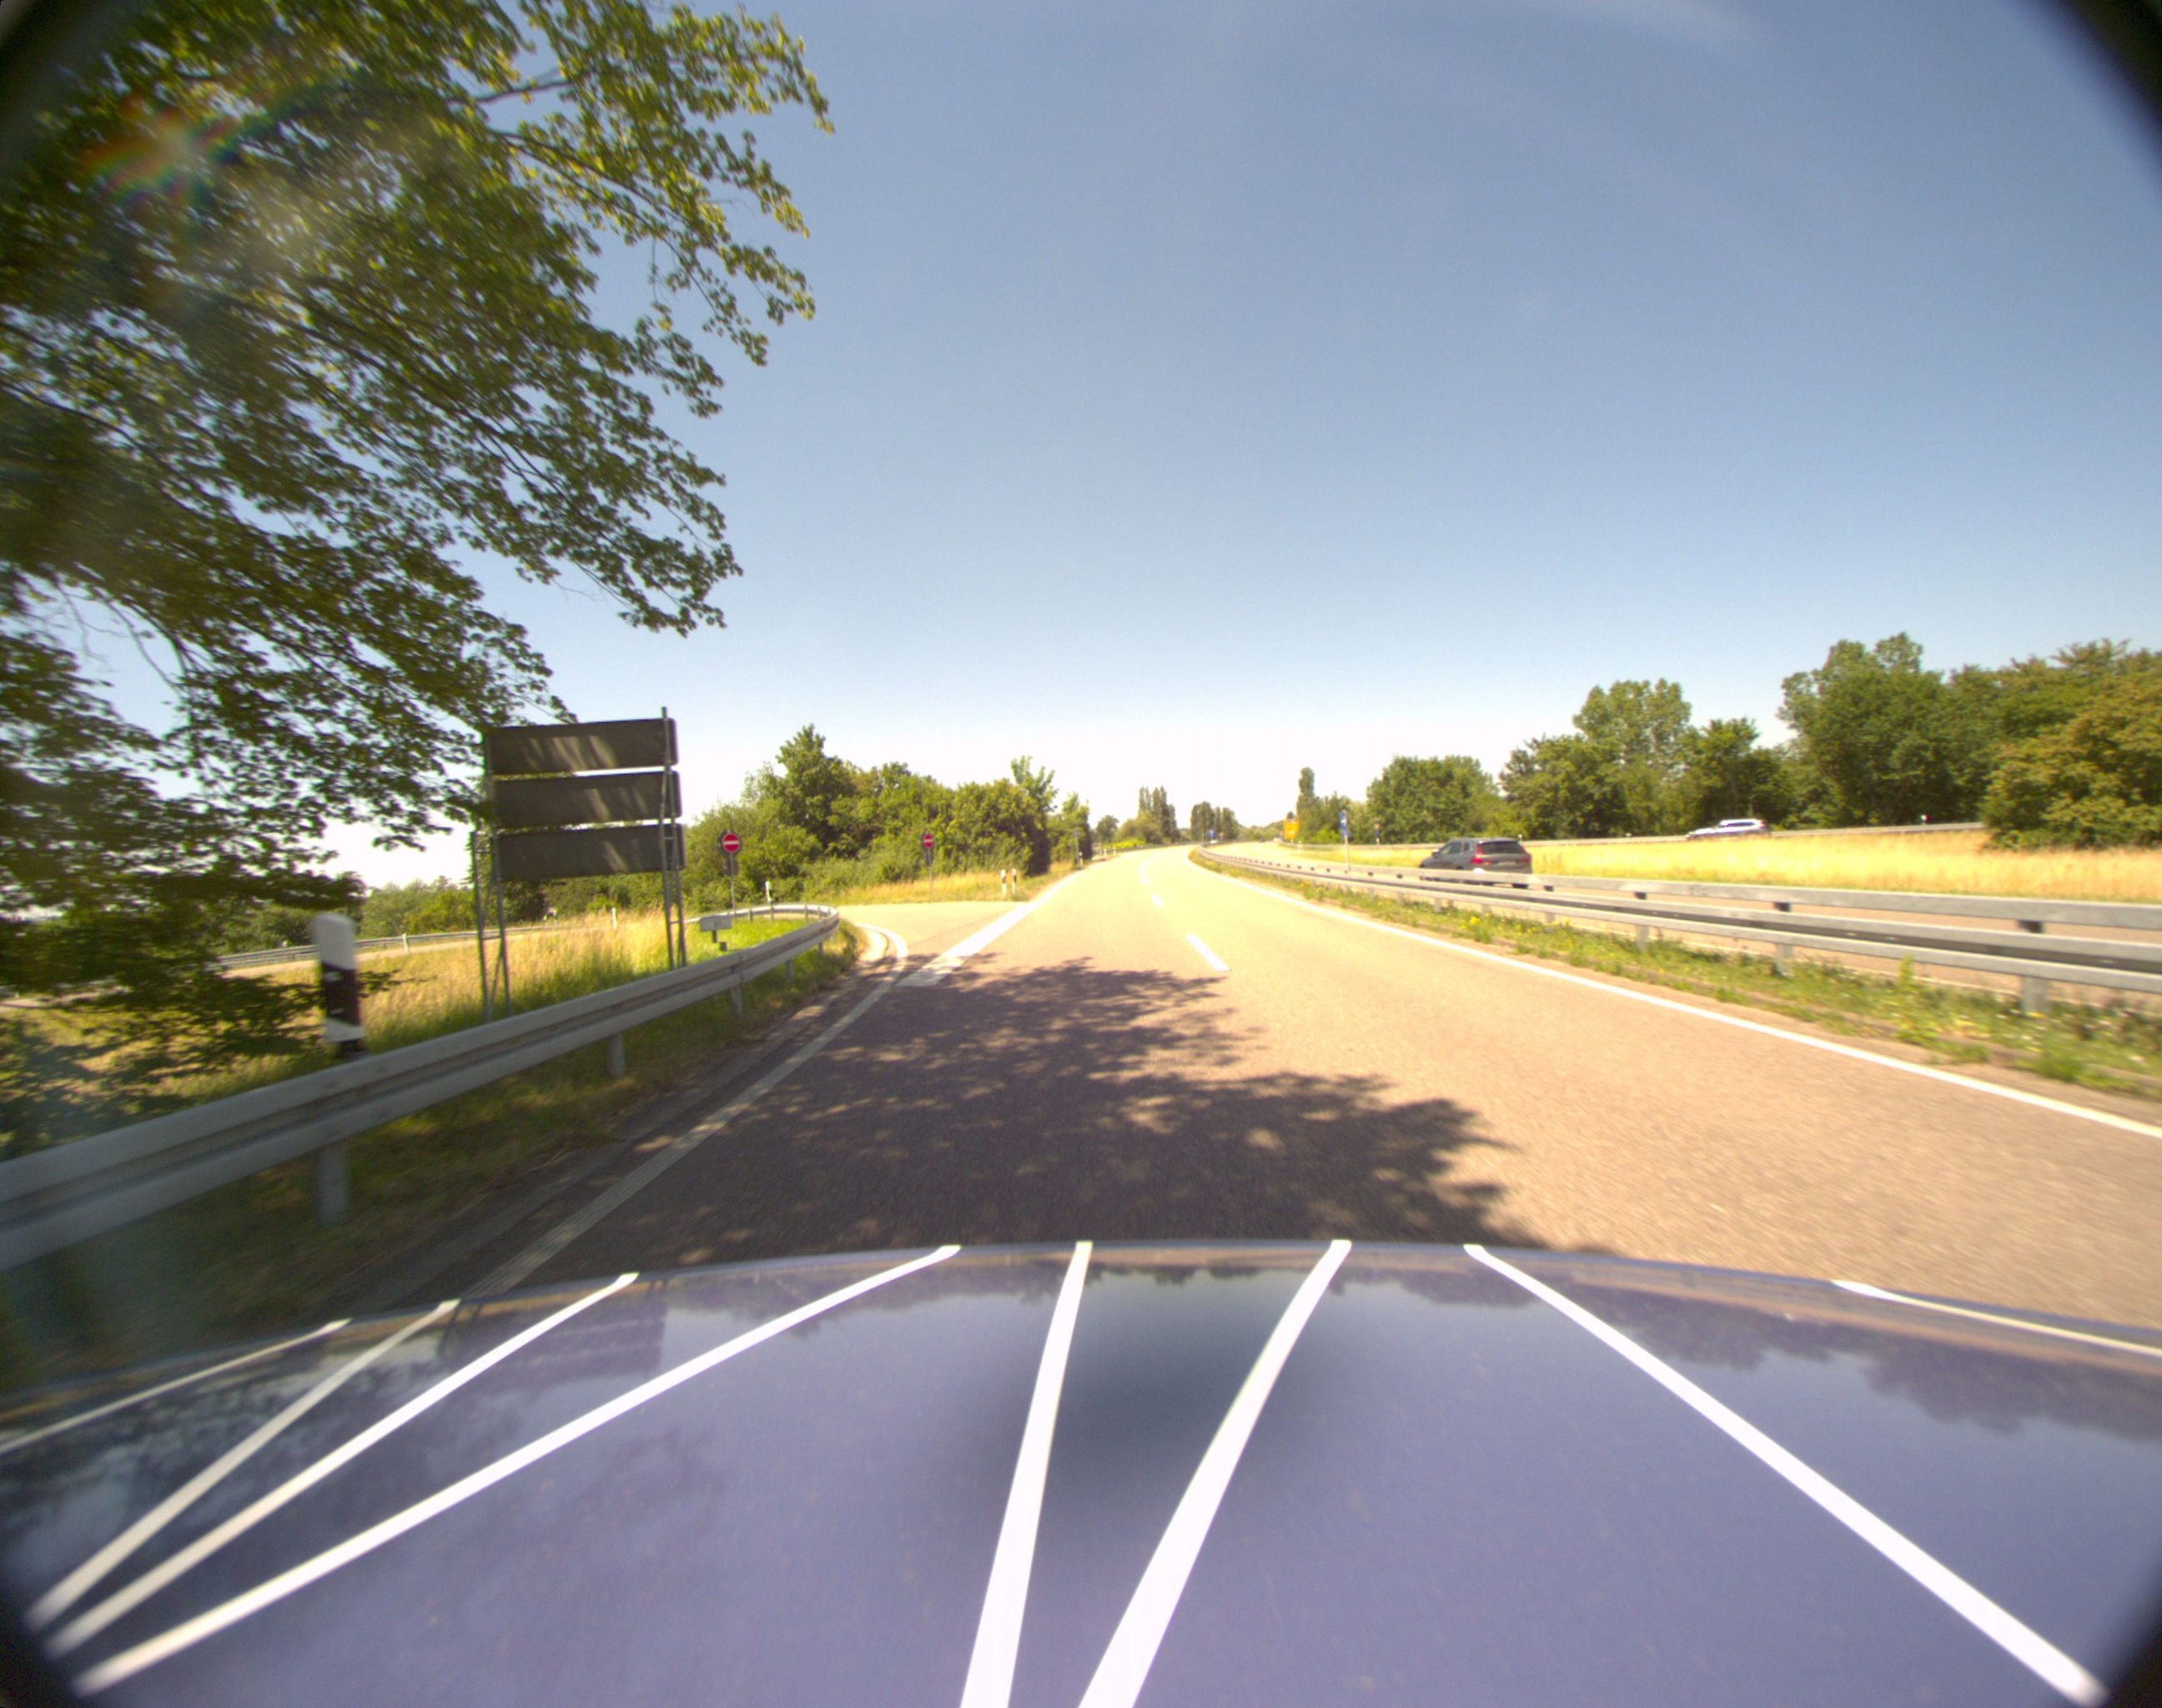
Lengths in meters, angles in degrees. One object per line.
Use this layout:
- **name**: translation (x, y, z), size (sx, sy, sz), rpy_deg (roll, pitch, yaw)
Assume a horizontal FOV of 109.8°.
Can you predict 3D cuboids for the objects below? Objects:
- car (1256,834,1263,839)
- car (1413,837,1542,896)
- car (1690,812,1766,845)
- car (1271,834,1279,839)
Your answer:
- **car**: translation (59.024, -5.784, 250.701), size (1.972, 1.478, 3.874), rpy_deg (-3, 2, 18)
- **car**: translation (12.289, 0.350, 23.912), size (1.828, 1.608, 4.540), rpy_deg (-2, 0, 2)
- **car**: translation (46.143, -1.820, 54.280), size (3.989, 2.002, 2.003), rpy_deg (-4, 2, 41)
- **car**: translation (56.923, -5.158, 222.588), size (1.972, 1.478, 3.874), rpy_deg (-3, 2, 18)
